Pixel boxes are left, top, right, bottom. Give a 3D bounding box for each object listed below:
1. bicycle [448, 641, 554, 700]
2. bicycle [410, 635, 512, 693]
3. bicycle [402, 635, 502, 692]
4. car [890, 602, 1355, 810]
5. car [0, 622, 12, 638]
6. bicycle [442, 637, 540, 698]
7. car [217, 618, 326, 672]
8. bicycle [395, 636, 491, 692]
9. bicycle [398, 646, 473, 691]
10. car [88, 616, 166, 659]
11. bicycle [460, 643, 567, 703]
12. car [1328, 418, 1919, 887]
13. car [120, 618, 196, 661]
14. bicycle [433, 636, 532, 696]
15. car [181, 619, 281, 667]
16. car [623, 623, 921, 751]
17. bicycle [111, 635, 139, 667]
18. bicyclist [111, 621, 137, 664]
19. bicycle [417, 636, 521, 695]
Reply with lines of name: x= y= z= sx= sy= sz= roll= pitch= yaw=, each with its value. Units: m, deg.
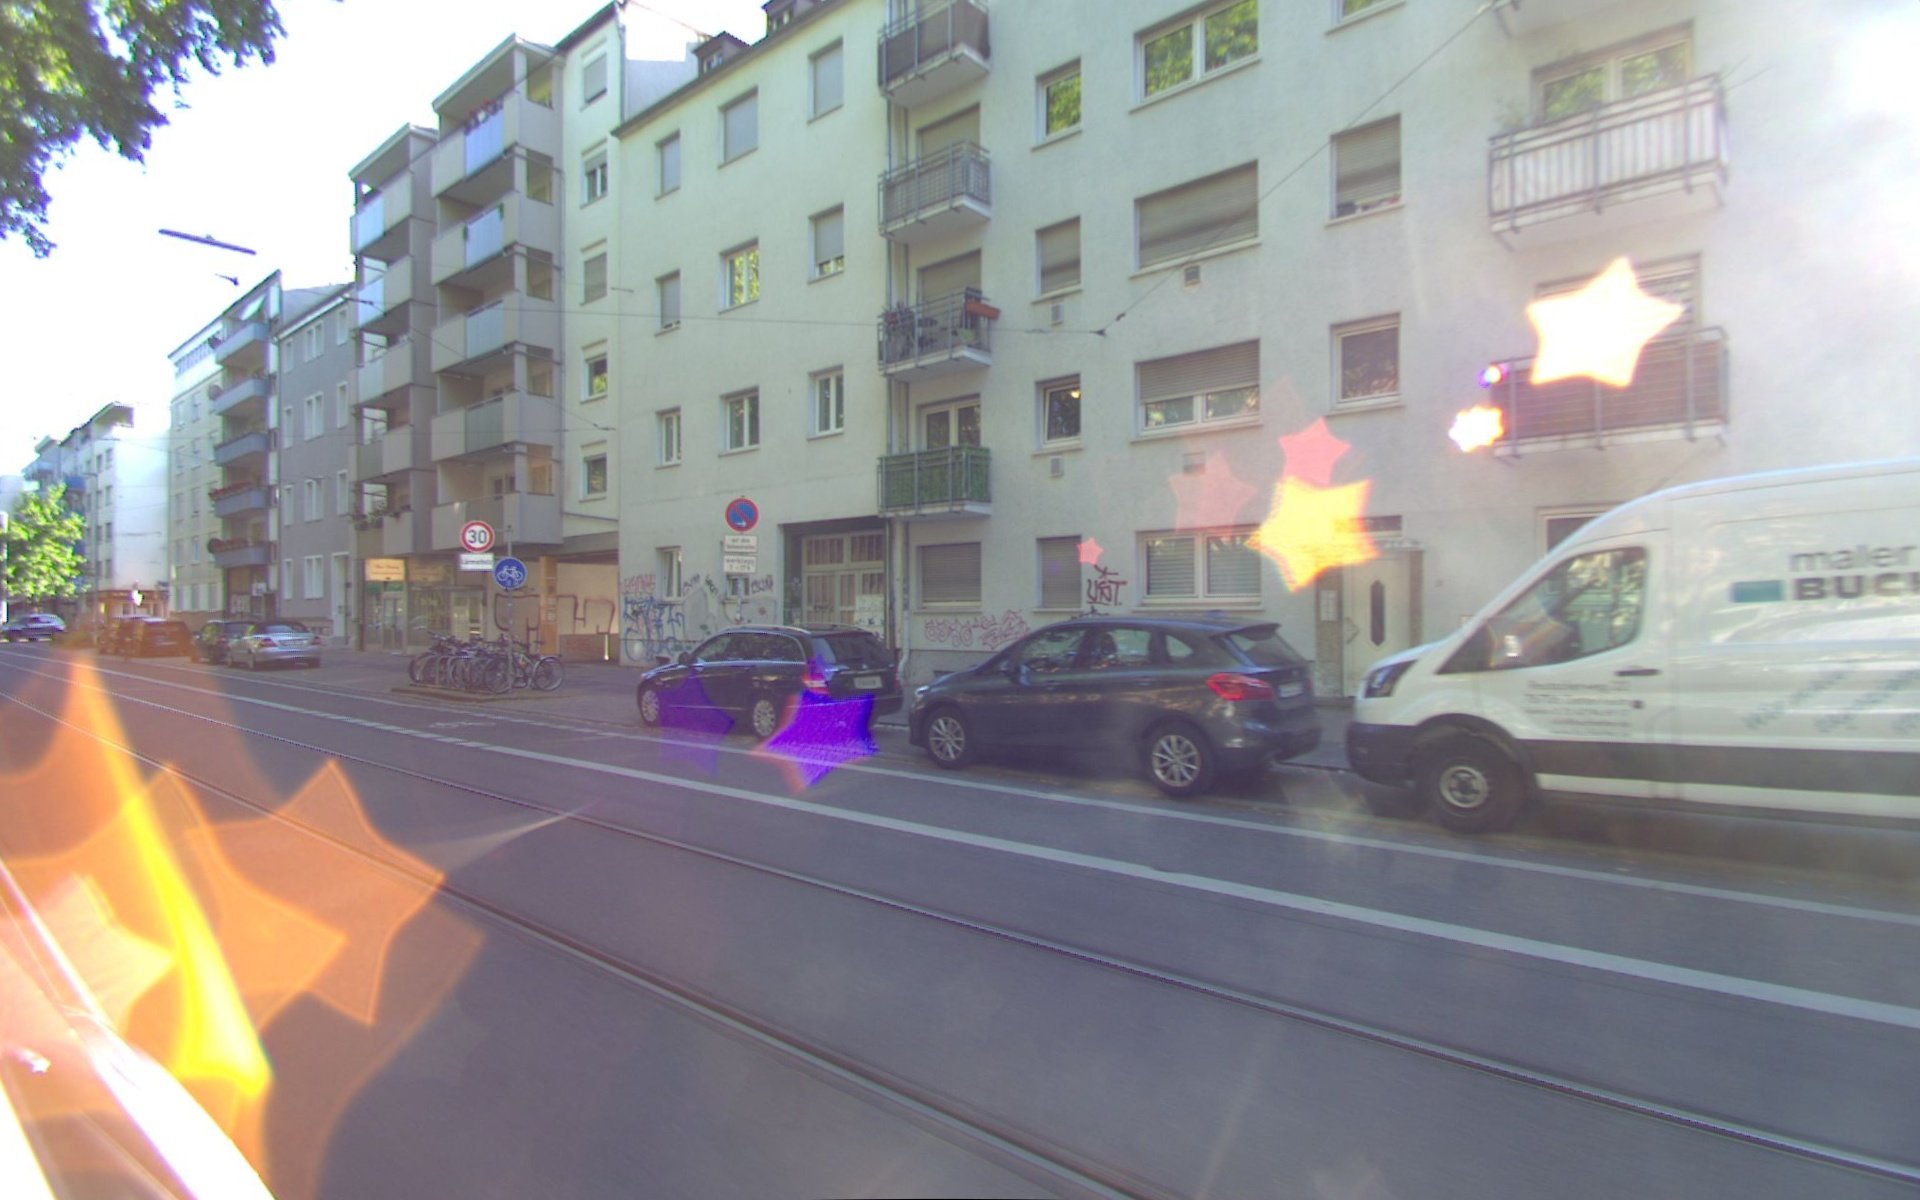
bicycle: x=-9.105 y=1.374 z=20.140 sx=1.870 sy=1.045 sz=0.402 roll=-1 pitch=0 yaw=-42
bicycle: x=-10.797 y=1.373 z=21.941 sx=1.937 sy=1.127 sz=0.440 roll=-1 pitch=0 yaw=-42
bicycle: x=-11.184 y=1.380 z=22.318 sx=1.907 sy=1.127 sz=0.440 roll=-1 pitch=0 yaw=-42
car: x=1.442 y=0.879 z=10.092 sx=4.344 sy=1.644 sz=1.701 roll=-1 pitch=-1 yaw=40
car: x=-93.380 y=2.873 z=96.835 sx=1.587 sy=1.535 sz=3.899 roll=-1 pitch=-2 yaw=45
bicycle: x=-9.604 y=1.363 z=20.763 sx=1.767 sy=1.127 sz=0.425 roll=-1 pitch=0 yaw=-42
car: x=-20.826 y=1.318 z=30.527 sx=4.727 sy=1.502 sz=1.671 roll=-1 pitch=-2 yaw=42
bicycle: x=-11.615 y=1.423 z=22.782 sx=1.870 sy=1.127 sz=0.402 roll=-1 pitch=0 yaw=-42
bicycle: x=-12.008 y=1.558 z=23.221 sx=0.400 sy=0.924 sz=1.609 roll=-1 pitch=0 yaw=25
car: x=-36.405 y=1.610 z=44.193 sx=4.485 sy=1.751 sz=1.762 roll=-1 pitch=0 yaw=40
bicycle: x=-8.688 y=1.403 z=19.754 sx=1.870 sy=1.045 sz=0.402 roll=-1 pitch=0 yaw=-42
car: x=5.593 y=0.301 z=6.584 sx=5.667 sy=2.555 sz=2.042 roll=-1 pitch=-1 yaw=43
car: x=-32.405 y=1.562 z=40.854 sx=4.199 sy=1.612 sz=1.639 roll=-1 pitch=0 yaw=41
bicycle: x=-9.947 y=1.358 z=21.131 sx=1.797 sy=1.127 sz=0.425 roll=-1 pitch=0 yaw=-42
car: x=-24.455 y=1.396 z=33.908 sx=4.238 sy=1.502 sz=1.775 roll=-1 pitch=-1 yaw=41
car: x=-2.735 y=1.064 z=13.950 sx=4.572 sy=1.467 sz=1.699 roll=-1 pitch=-1 yaw=43
bicycle: x=-27.996 y=1.711 z=33.908 sx=1.946 sy=1.025 sz=0.412 roll=-1 pitch=-3 yaw=42
bicyclist: x=-28.116 y=1.421 z=34.026 sx=0.709 sy=1.405 sz=0.503 roll=-1 pitch=-3 yaw=41
bicycle: x=-10.456 y=1.367 z=21.592 sx=1.944 sy=1.127 sz=0.425 roll=-1 pitch=0 yaw=-42
